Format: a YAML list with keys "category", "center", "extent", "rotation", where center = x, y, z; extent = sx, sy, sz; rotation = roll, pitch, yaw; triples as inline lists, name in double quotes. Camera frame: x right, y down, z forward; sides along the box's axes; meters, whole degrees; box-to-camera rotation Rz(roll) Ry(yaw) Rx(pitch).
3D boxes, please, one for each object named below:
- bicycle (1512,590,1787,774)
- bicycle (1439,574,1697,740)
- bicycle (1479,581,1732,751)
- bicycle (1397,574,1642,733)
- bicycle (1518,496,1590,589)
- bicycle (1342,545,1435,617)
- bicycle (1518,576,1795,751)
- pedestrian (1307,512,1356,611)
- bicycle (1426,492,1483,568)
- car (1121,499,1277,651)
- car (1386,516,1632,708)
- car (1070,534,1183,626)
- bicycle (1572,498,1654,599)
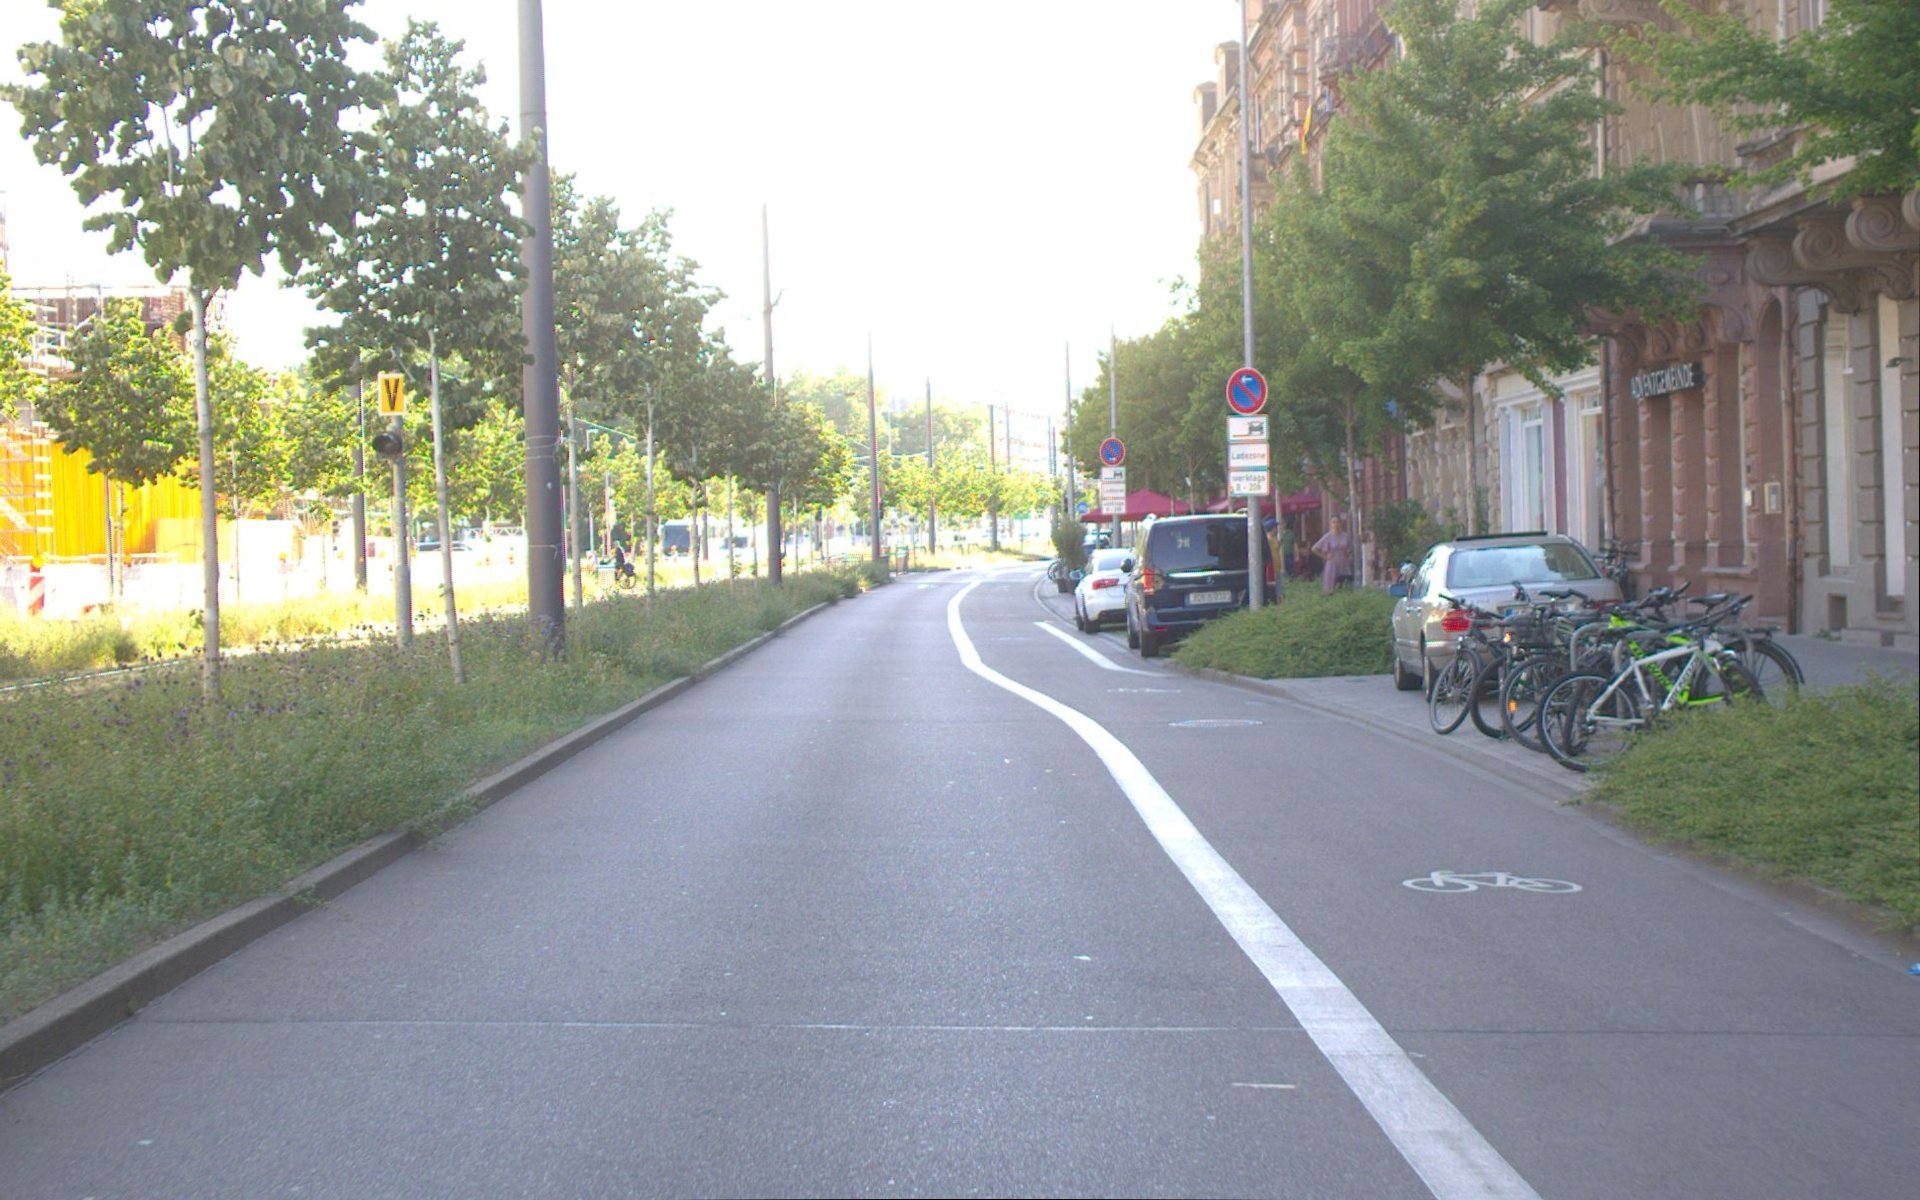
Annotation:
- category: "bicycle"
  center: [4.341, 0.508, 21.668]
  extent: [1.576, 1.044, 0.489]
  rotation: [-4, 1, -8]
- category: "bicycle"
  center: [4.353, 0.403, 24.647]
  extent: [1.691, 1.044, 0.489]
  rotation: [-4, 1, 0]
- category: "bicycle"
  center: [4.409, 0.442, 23.495]
  extent: [1.576, 1.044, 0.489]
  rotation: [-4, 1, -8]
- category: "bicycle"
  center: [4.217, 0.397, 25.946]
  extent: [1.691, 1.044, 0.489]
  rotation: [-5, 1, 0]
- category: "bicycle"
  center: [9.401, -0.929, 54.465]
  extent: [0.661, 1.397, 2.352]
  rotation: [-2, 2, -1]
- category: "bicycle"
  center: [6.886, -0.319, 55.417]
  extent: [1.081, 1.081, 2.770]
  rotation: [-1, 1, -1]
- category: "bicycle"
  center: [4.646, 0.417, 22.957]
  extent: [1.691, 1.044, 0.489]
  rotation: [-4, 1, -8]
- category: "pedestrian"
  center: [5.599, -0.584, 51.833]
  extent: [0.625, 1.455, 0.638]
  rotation: [-2, 1, 0]
- category: "bicycle"
  center: [9.464, -1.352, 65.838]
  extent: [0.661, 1.397, 2.352]
  rotation: [-2, 2, -1]
- category: "car"
  center: [3.285, -0.398, 47.935]
  extent: [1.885, 1.930, 4.473]
  rotation: [-2, 2, 1]
- category: "car"
  center: [4.942, 0.052, 31.417]
  extent: [1.637, 1.481, 4.212]
  rotation: [-3, 2, 2]
- category: "car"
  center: [2.947, -0.390, 61.454]
  extent: [1.849, 1.452, 4.156]
  rotation: [-2, 2, 1]
- category: "bicycle"
  center: [9.485, -0.767, 50.005]
  extent: [0.661, 1.397, 2.352]
  rotation: [-2, 2, -1]
